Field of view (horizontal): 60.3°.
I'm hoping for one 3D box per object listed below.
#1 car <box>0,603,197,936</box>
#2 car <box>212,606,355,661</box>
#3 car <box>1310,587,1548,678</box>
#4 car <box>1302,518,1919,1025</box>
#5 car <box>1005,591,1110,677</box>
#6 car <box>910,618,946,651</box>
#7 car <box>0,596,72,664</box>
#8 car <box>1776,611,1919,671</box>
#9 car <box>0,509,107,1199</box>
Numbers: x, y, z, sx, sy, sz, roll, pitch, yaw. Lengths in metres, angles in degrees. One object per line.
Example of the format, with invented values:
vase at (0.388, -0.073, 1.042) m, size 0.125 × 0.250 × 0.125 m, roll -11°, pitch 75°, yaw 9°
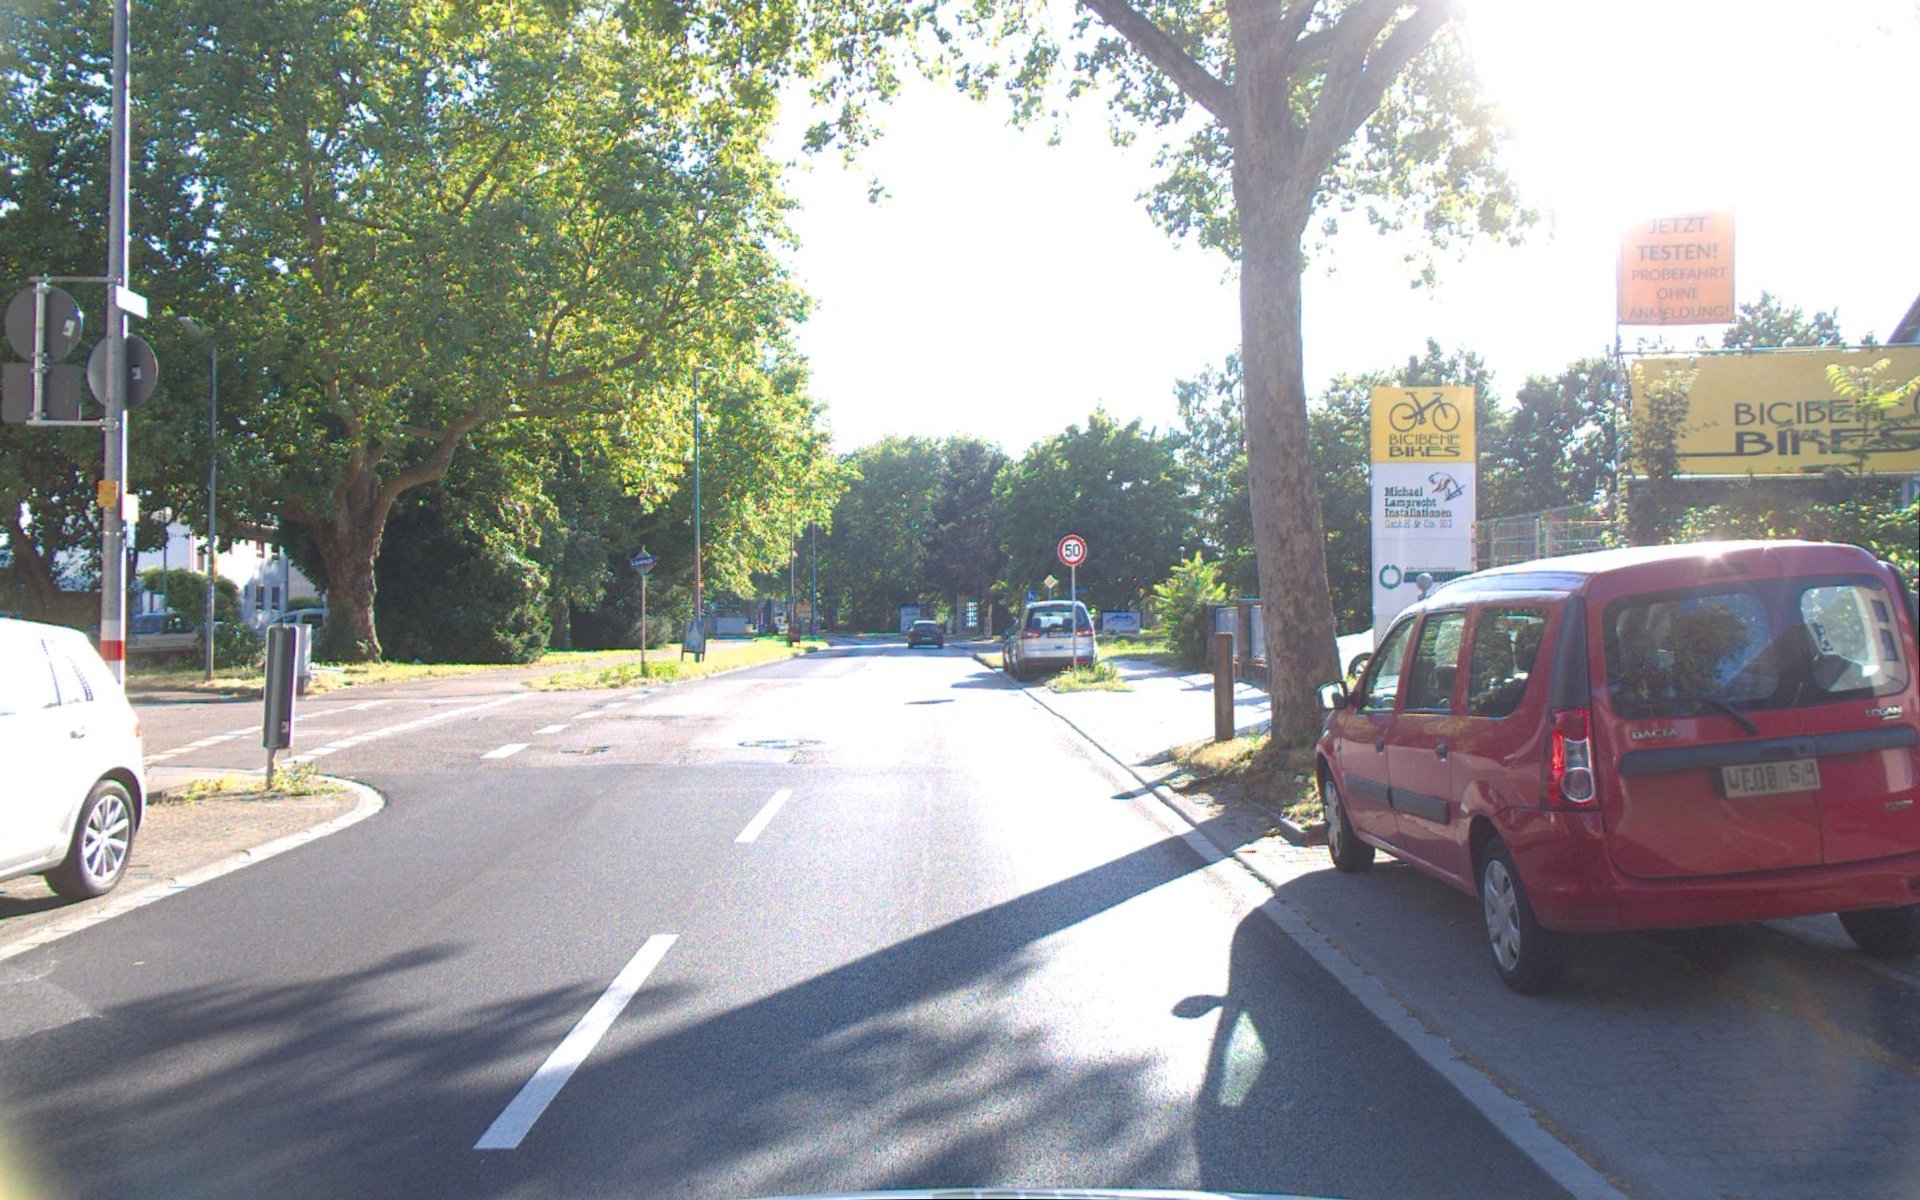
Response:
car at (-5.244, 0.756, 7.351) m, size 1.725 × 1.509 × 4.108 m, roll 2°, pitch -1°, yaw 0°
car at (-21.847, 1.070, 53.512) m, size 3.906 × 1.713 × 1.726 m, roll 1°, pitch 0°, yaw -2°
car at (8.664, 0.588, 30.797) m, size 3.905 × 1.587 × 1.841 m, roll -1°, pitch 0°, yaw 0°
car at (2.872, 0.605, 7.864) m, size 1.565 × 1.719 × 4.336 m, roll -1°, pitch -1°, yaw 0°
car at (2.193, 0.781, 38.435) m, size 1.953 × 1.790 × 4.915 m, roll -2°, pitch -1°, yaw -2°
car at (-1.632, 1.751, 85.135) m, size 1.802 × 1.633 × 3.861 m, roll -1°, pitch -1°, yaw -1°
car at (-33.798, 1.050, 58.010) m, size 4.228 × 2.329 × 1.999 m, roll -1°, pitch -1°, yaw -1°
car at (25.059, 1.149, 46.163) m, size 3.905 × 1.602 × 1.909 m, roll -2°, pitch -2°, yaw 21°
car at (-2.367, 0.667, 0.833) m, size 1.858 × 1.618 × 4.067 m, roll -1°, pitch -1°, yaw -2°
